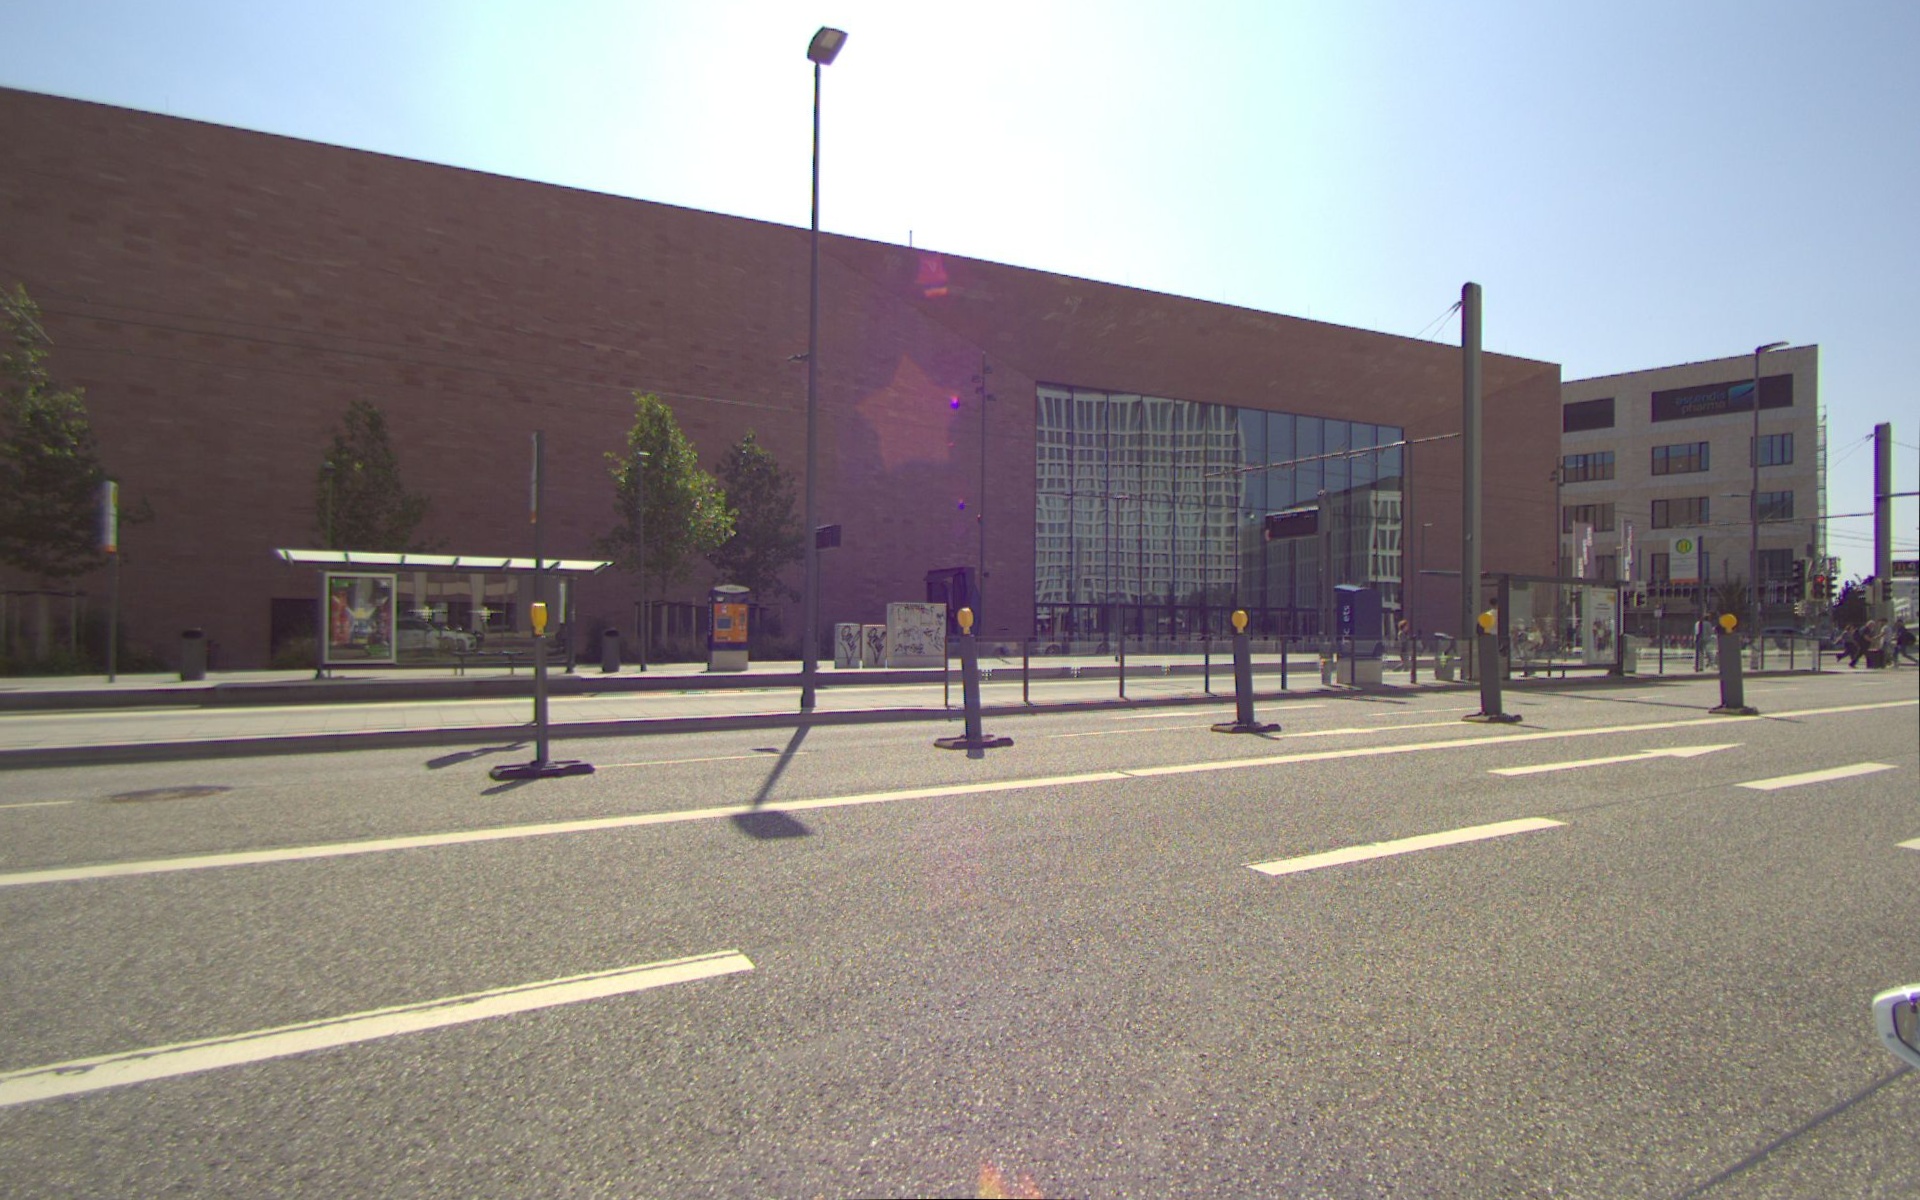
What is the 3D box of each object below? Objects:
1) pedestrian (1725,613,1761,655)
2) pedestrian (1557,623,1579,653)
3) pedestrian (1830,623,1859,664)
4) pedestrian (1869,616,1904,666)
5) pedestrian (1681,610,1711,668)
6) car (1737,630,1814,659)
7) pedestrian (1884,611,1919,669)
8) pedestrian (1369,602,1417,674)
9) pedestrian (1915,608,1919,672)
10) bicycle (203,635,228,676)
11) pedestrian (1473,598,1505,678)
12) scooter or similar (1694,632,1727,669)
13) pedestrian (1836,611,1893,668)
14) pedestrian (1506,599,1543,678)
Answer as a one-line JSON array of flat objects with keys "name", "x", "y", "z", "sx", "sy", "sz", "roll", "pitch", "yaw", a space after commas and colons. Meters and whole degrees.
[{"name": "pedestrian", "x": 36.356, "y": 1.573, "z": 46.658, "sx": 0.966, "sy": 1.915, "sz": 0.889, "roll": 1, "pitch": -1, "yaw": -10}, {"name": "pedestrian", "x": 32.248, "y": 2.010, "z": 53.284, "sx": 0.880, "sy": 1.592, "sz": 0.707, "roll": 1, "pitch": -1, "yaw": -31}, {"name": "pedestrian", "x": 37.675, "y": 1.835, "z": 42.788, "sx": 0.681, "sy": 1.704, "sz": 0.672, "roll": 0, "pitch": -1, "yaw": 11}, {"name": "pedestrian", "x": 32.575, "y": 1.426, "z": 35.335, "sx": 0.883, "sy": 1.696, "sz": 1.008, "roll": 0, "pitch": -1, "yaw": 42}, {"name": "pedestrian", "x": 21.218, "y": 1.125, "z": 28.955, "sx": 0.642, "sy": 1.643, "sz": 0.502, "roll": 1, "pitch": -1, "yaw": -30}, {"name": "car", "x": 56.984, "y": 3.107, "z": 70.220, "sx": 1.785, "sy": 1.840, "sz": 3.906, "roll": 2, "pitch": -1, "yaw": -41}, {"name": "pedestrian", "x": 33.556, "y": 1.407, "z": 35.693, "sx": 1.008, "sy": 2.040, "sz": 0.949, "roll": 0, "pitch": -1, "yaw": 42}, {"name": "pedestrian", "x": 11.441, "y": 0.996, "z": 26.533, "sx": 0.815, "sy": 1.844, "sz": 0.807, "roll": 1, "pitch": 0, "yaw": -30}, {"name": "pedestrian", "x": 28.968, "y": 1.192, "z": 29.860, "sx": 0.786, "sy": 1.915, "sz": 0.634, "roll": 1, "pitch": -1, "yaw": -29}, {"name": "bicycle", "x": -22.770, "y": 1.665, "z": 30.710, "sx": 0.590, "sy": 1.168, "sz": 2.225, "roll": 1, "pitch": -1, "yaw": -37}, {"name": "pedestrian", "x": 12.524, "y": 0.887, "z": 23.781, "sx": 0.543, "sy": 1.844, "sz": 0.597, "roll": 2, "pitch": 1, "yaw": 39}, {"name": "scooter or similar", "x": 21.964, "y": 1.465, "z": 29.406, "sx": 0.824, "sy": 1.073, "sz": 0.502, "roll": 1, "pitch": -1, "yaw": -30}, {"name": "pedestrian", "x": 31.477, "y": 1.365, "z": 34.966, "sx": 1.046, "sy": 1.915, "sz": 1.164, "roll": -1, "pitch": 0, "yaw": -28}, {"name": "pedestrian", "x": 13.638, "y": 0.913, "z": 24.272, "sx": 0.654, "sy": 1.844, "sz": 0.720, "roll": 2, "pitch": 1, "yaw": 37}]
